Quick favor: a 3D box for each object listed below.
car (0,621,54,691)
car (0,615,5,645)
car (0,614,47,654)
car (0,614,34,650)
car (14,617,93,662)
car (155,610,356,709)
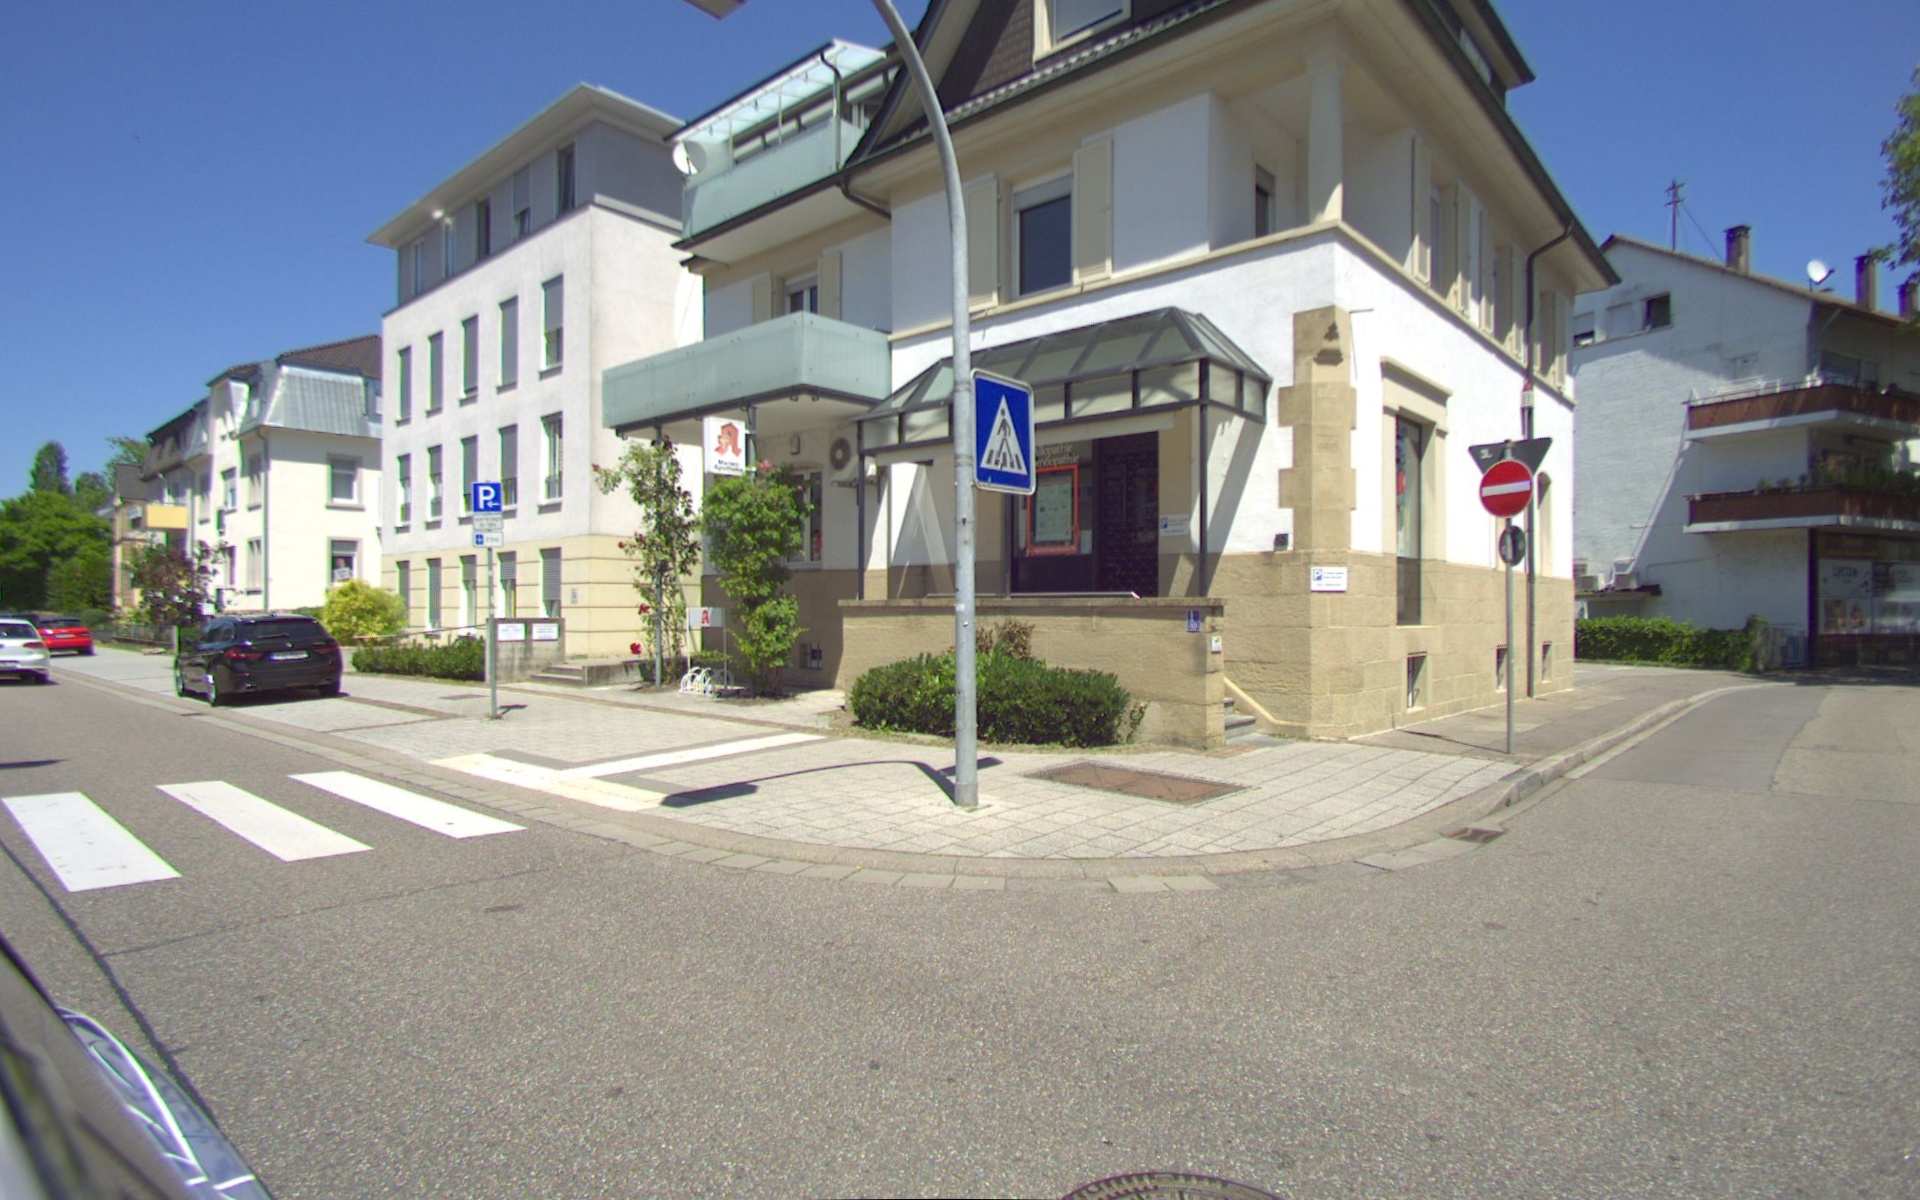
[{"bbox_3d":[-21.800,1.204,22.608,3.867,1.493,1.789,-1,-3,41],"label":"car"},{"bbox_3d":[-56.207,1.744,57.999,4.288,1.703,1.899,-1,2,44],"label":"car"},{"bbox_3d":[-41.647,1.488,44.424,4.435,1.598,1.900,-1,2,43],"label":"car"},{"bbox_3d":[-45.667,1.544,48.204,4.287,1.598,1.900,-1,2,43],"label":"car"},{"bbox_3d":[-33.148,1.396,36.986,4.260,1.463,1.714,-1,2,43],"label":"car"},{"bbox_3d":[-12.883,0.970,18.364,5.149,1.463,1.896,-1,2,43],"label":"car"}]
